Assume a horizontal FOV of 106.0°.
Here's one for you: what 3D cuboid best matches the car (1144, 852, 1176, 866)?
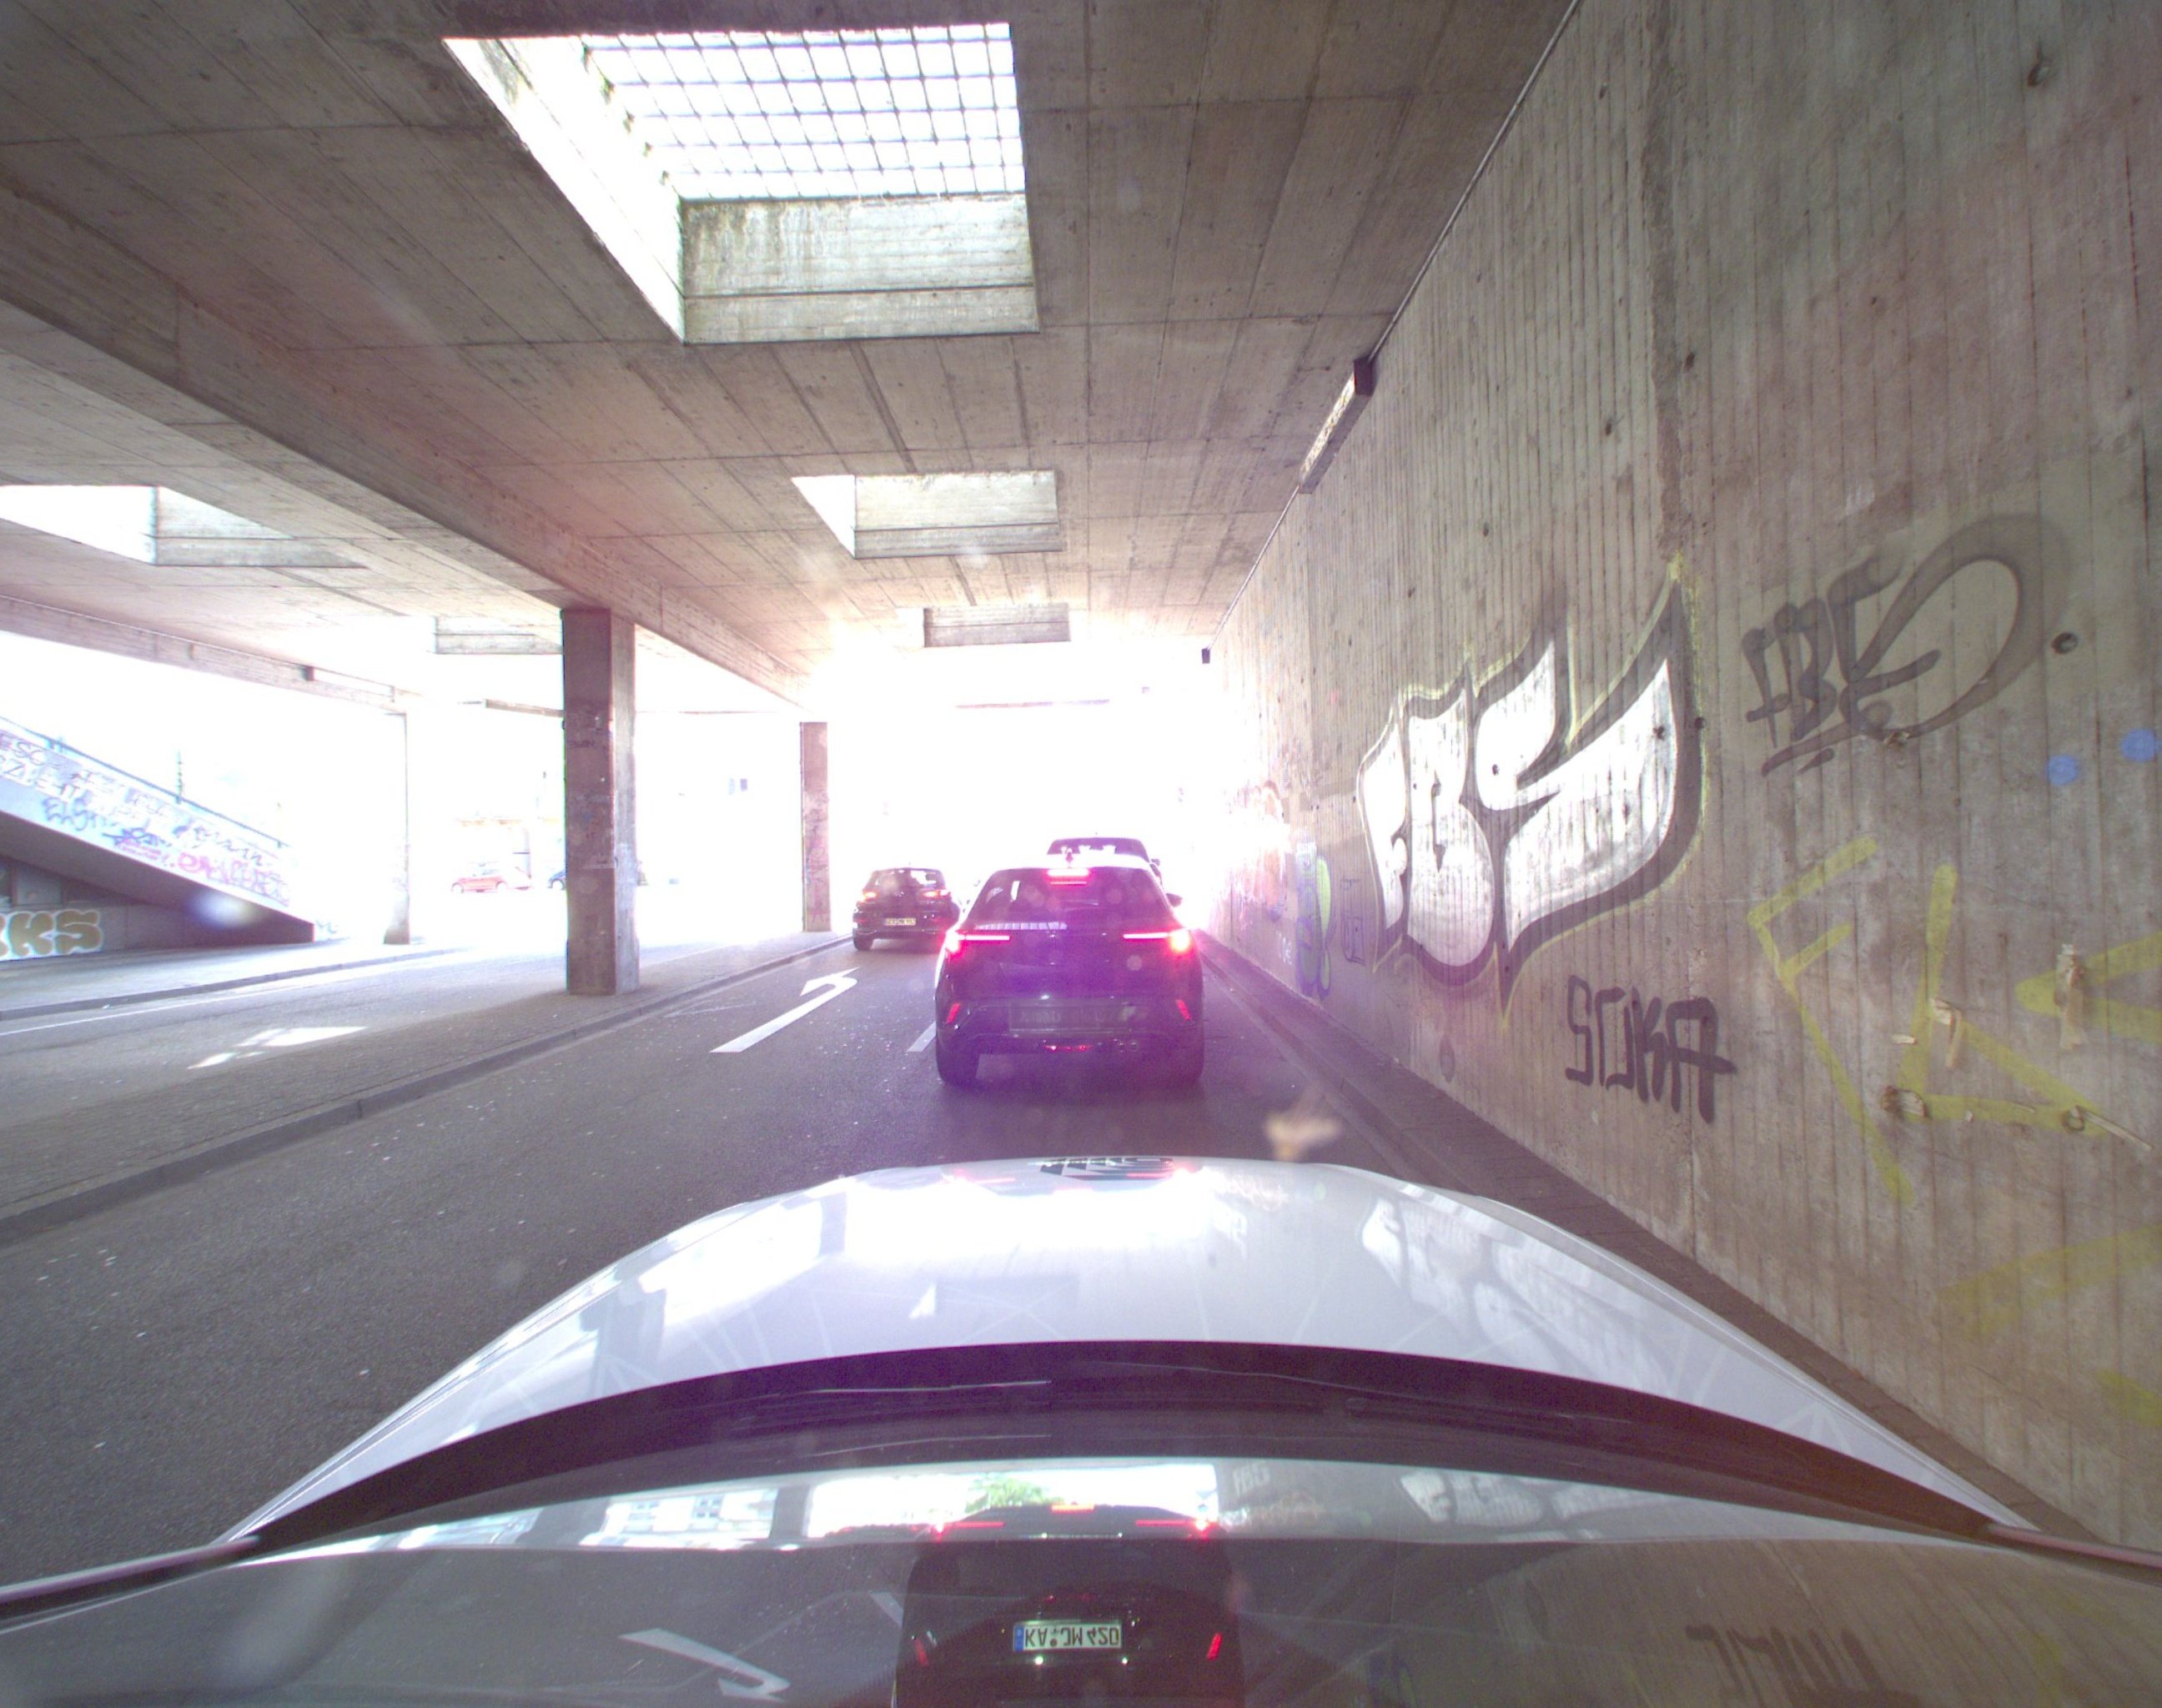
[{"bbox_3d":[13.030,0.880,133.844,4.905,2.083,1.970,-2,-1,-23],"label":"car"}]

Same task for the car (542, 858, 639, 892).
[{"bbox_3d":[-27.176,1.162,45.248,4.144,1.724,1.964,-1,1,2],"label":"car"}]

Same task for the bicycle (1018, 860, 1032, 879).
[{"bbox_3d":[-3.458,0.939,50.465,0.539,1.123,2.060,-1,0,3],"label":"bicycle"}]

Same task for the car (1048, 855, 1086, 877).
[{"bbox_3d":[-0.962,0.815,57.637,1.645,1.441,3.478,-2,0,16],"label":"car"}]

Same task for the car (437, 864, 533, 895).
[{"bbox_3d":[-33.034,1.410,45.188,3.863,1.540,1.900,-1,1,2],"label":"car"}]

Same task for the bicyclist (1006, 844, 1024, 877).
[{"bbox_3d":[-3.575,0.352,44.193,0.742,1.711,0.968,-2,1,4],"label":"bicyclist"}]

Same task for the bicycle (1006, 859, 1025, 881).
[{"bbox_3d":[-3.567,0.851,44.225,0.695,1.090,1.863,-1,2,5],"label":"bicycle"}]

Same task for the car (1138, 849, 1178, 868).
[{"bbox_3d":[10.997,0.680,116.102,5.267,2.545,1.976,-2,-1,-14],"label":"car"}]

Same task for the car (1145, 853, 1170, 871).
[{"bbox_3d":[7.081,0.678,75.029,1.693,1.512,3.877,-3,-1,13],"label":"car"}]

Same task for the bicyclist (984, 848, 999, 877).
[{"bbox_3d":[-5.118,0.496,46.744,0.602,1.632,0.911,-2,0,7],"label":"bicyclist"}]

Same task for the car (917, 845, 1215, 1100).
[{"bbox_3d":[-0.031,0.714,6.782,1.775,1.517,3.757,-1,0,2],"label":"car"}]

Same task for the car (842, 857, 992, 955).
[{"bbox_3d":[-2.763,0.802,14.722,1.795,1.451,4.325,-1,0,0],"label":"car"}]

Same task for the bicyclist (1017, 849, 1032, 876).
[{"bbox_3d":[-3.492,0.532,50.449,0.778,1.660,1.032,-2,0,3],"label":"bicyclist"}]

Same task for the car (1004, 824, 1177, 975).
[{"bbox_3d":[0.209,0.564,12.665,2.125,1.835,4.943,-2,0,2],"label":"car"}]

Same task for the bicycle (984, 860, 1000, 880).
[{"bbox_3d":[-5.091,0.900,46.685,0.523,1.090,1.864,-1,0,7],"label":"bicycle"}]

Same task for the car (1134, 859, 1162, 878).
[{"bbox_3d":[5.699,1.228,68.596,1.695,1.452,3.865,-2,0,14],"label":"car"}]
